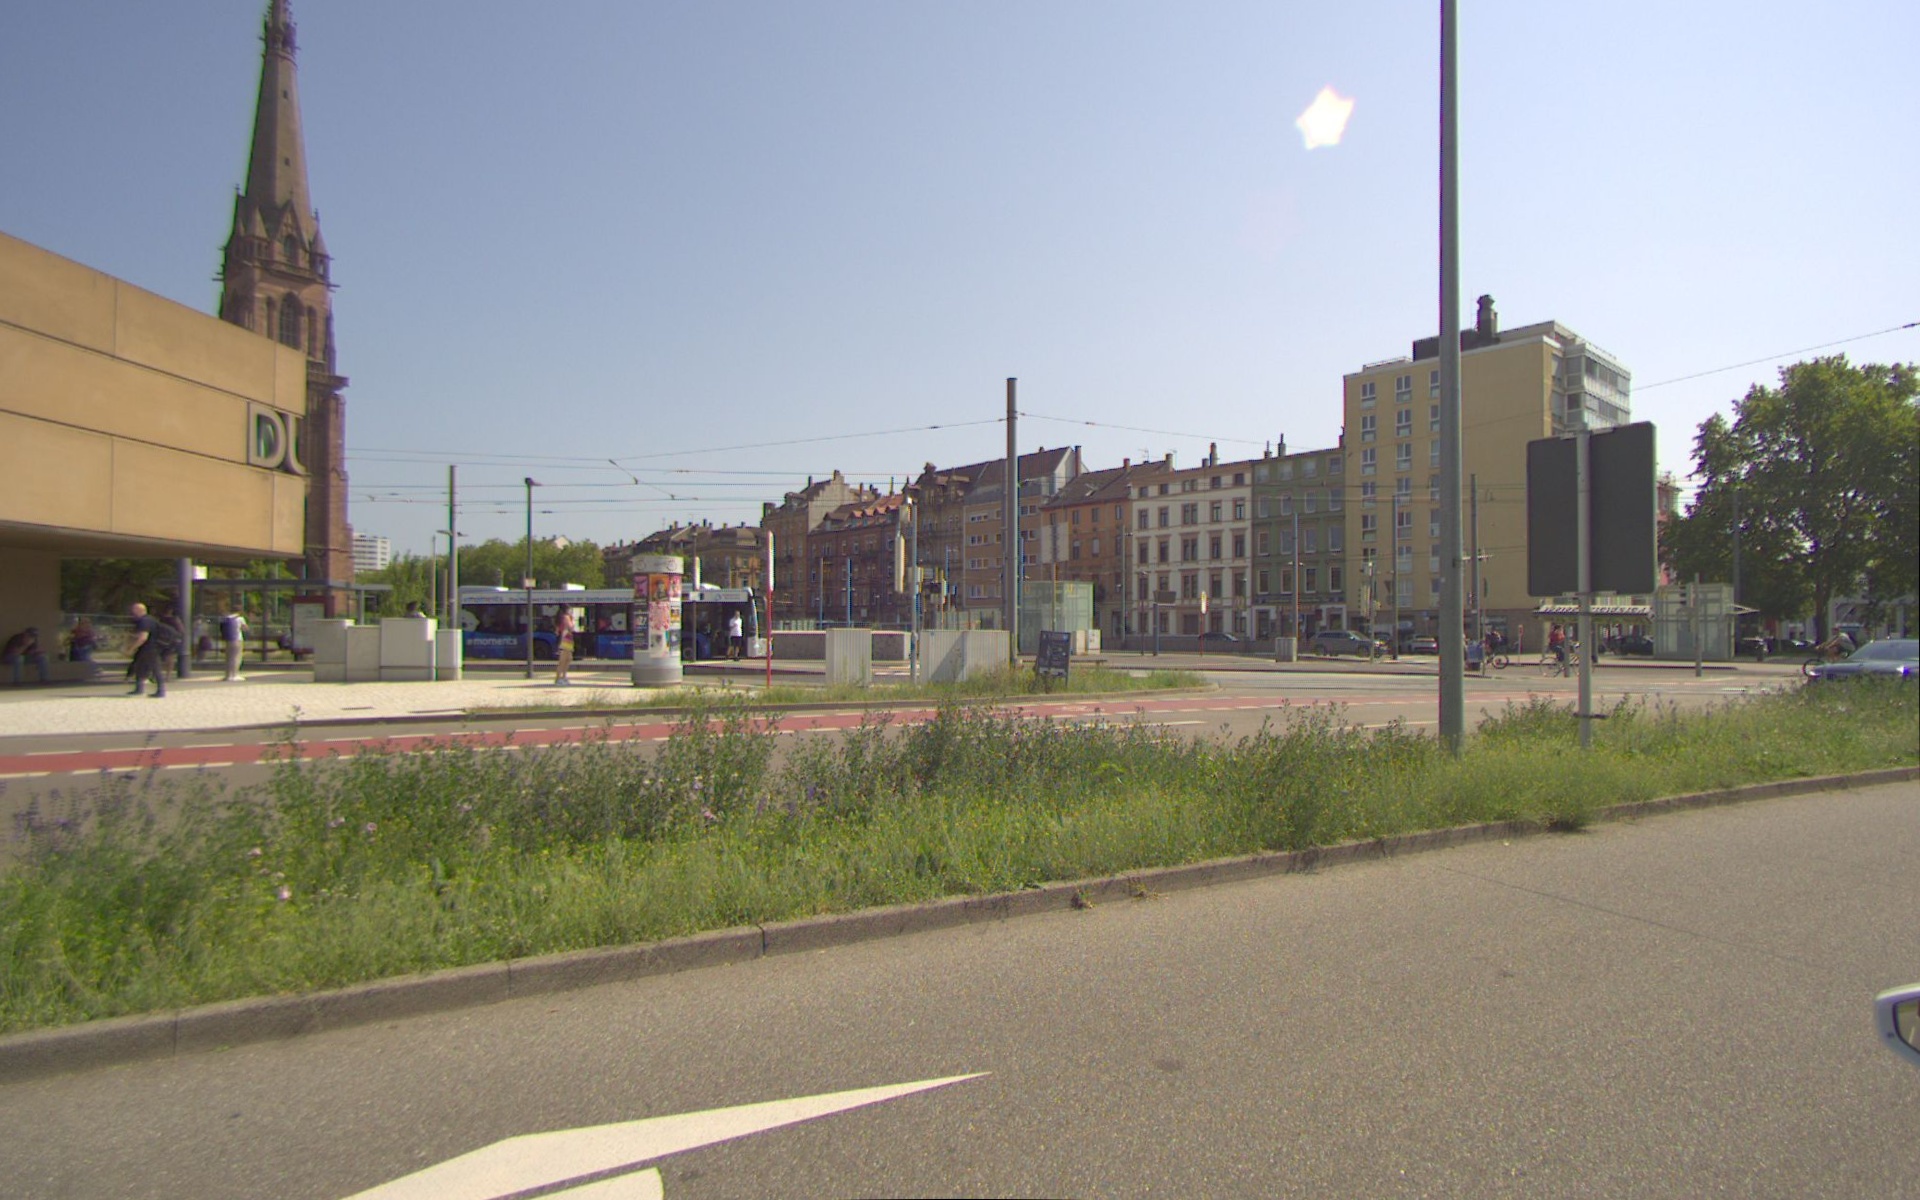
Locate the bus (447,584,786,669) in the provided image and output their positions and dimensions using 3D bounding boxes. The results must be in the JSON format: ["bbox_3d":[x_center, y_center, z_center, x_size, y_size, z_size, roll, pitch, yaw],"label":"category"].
[{"bbox_3d":[-13.276,1.039,39.437,12.233,3.111,3.108,0,-2,3],"label":"bus"}]

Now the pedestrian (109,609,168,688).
[{"bbox_3d":[-17.348,1.013,21.222,0.679,1.635,0.639,0,-2,8],"label":"pedestrian"}]

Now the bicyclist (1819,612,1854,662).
[{"bbox_3d":[29.760,1.257,34.112,0.607,1.671,0.693,0,-1,11],"label":"bicyclist"}]

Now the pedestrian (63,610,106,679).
[{"bbox_3d":[-20.976,1.065,24.072,0.559,1.635,0.492,0,-1,9],"label":"pedestrian"}]

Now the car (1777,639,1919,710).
[{"bbox_3d":[20.639,1.619,22.584,4.704,1.429,1.764,1,-2,-27],"label":"car"}]

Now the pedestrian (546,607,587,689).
[{"bbox_3d":[-8.484,1.026,21.679,0.616,1.725,0.786,1,-2,-9],"label":"pedestrian"}]

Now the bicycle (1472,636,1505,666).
[{"bbox_3d":[22.000,2.092,41.771,0.958,1.194,2.825,-1,-2,32],"label":"bicycle"}]

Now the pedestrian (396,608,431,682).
[{"bbox_3d":[-13.434,1.112,24.710,0.541,1.786,0.696,1,-2,-11],"label":"pedestrian"}]

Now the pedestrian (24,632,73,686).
[{"bbox_3d":[-18.796,1.217,20.718,0.490,1.098,0.541,0,-2,2],"label":"pedestrian"}]

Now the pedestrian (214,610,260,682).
[{"bbox_3d":[-17.155,1.089,23.860,0.800,1.691,0.546,1,-2,-31],"label":"pedestrian"}]

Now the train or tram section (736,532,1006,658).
[{"bbox_3d":[-2.636,-0.065,31.666,8.080,3.616,3.147,-1,-3,2],"label":"train or tram section"}]

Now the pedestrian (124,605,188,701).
[{"bbox_3d":[-14.825,0.963,18.544,0.800,1.725,0.641,1,-2,-31],"label":"pedestrian"}]

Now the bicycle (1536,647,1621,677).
[{"bbox_3d":[20.781,2.061,33.798,0.599,0.966,2.388,2,-3,-41],"label":"bicycle"}]

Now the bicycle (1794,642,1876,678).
[{"bbox_3d":[29.685,2.028,34.108,2.002,1.152,0.699,0,-2,11],"label":"bicycle"}]

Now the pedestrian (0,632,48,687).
[{"bbox_3d":[-18.810,1.188,20.153,0.490,1.098,0.541,0,-2,2],"label":"pedestrian"}]

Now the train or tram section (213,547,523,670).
[{"bbox_3d":[-18.734,0.363,32.198,8.080,3.616,3.147,-1,-3,2],"label":"train or tram section"}]

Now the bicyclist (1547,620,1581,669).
[{"bbox_3d":[20.515,1.503,34.121,0.602,1.664,0.831,1,-2,-42],"label":"bicyclist"}]

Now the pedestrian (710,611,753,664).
[{"bbox_3d":[-8.453,1.399,37.222,1.284,1.910,1.039,0,-2,4],"label":"pedestrian"}]

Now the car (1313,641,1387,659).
[{"bbox_3d":[23.386,2.997,60.304,3.842,1.000,1.706,-2,-3,44],"label":"car"}]

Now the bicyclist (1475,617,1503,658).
[{"bbox_3d":[22.021,1.557,41.828,0.958,1.675,0.661,-1,-2,33],"label":"bicyclist"}]

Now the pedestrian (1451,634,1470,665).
[{"bbox_3d":[26.727,2.646,53.614,0.808,1.654,0.643,2,-2,-41],"label":"pedestrian"}]

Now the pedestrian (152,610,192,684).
[{"bbox_3d":[-17.704,1.046,22.570,0.500,1.635,0.491,0,-2,26],"label":"pedestrian"}]

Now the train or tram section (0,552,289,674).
[{"bbox_3d":[-26.784,0.519,32.467,8.080,3.616,3.147,-1,-3,2],"label":"train or tram section"}]
